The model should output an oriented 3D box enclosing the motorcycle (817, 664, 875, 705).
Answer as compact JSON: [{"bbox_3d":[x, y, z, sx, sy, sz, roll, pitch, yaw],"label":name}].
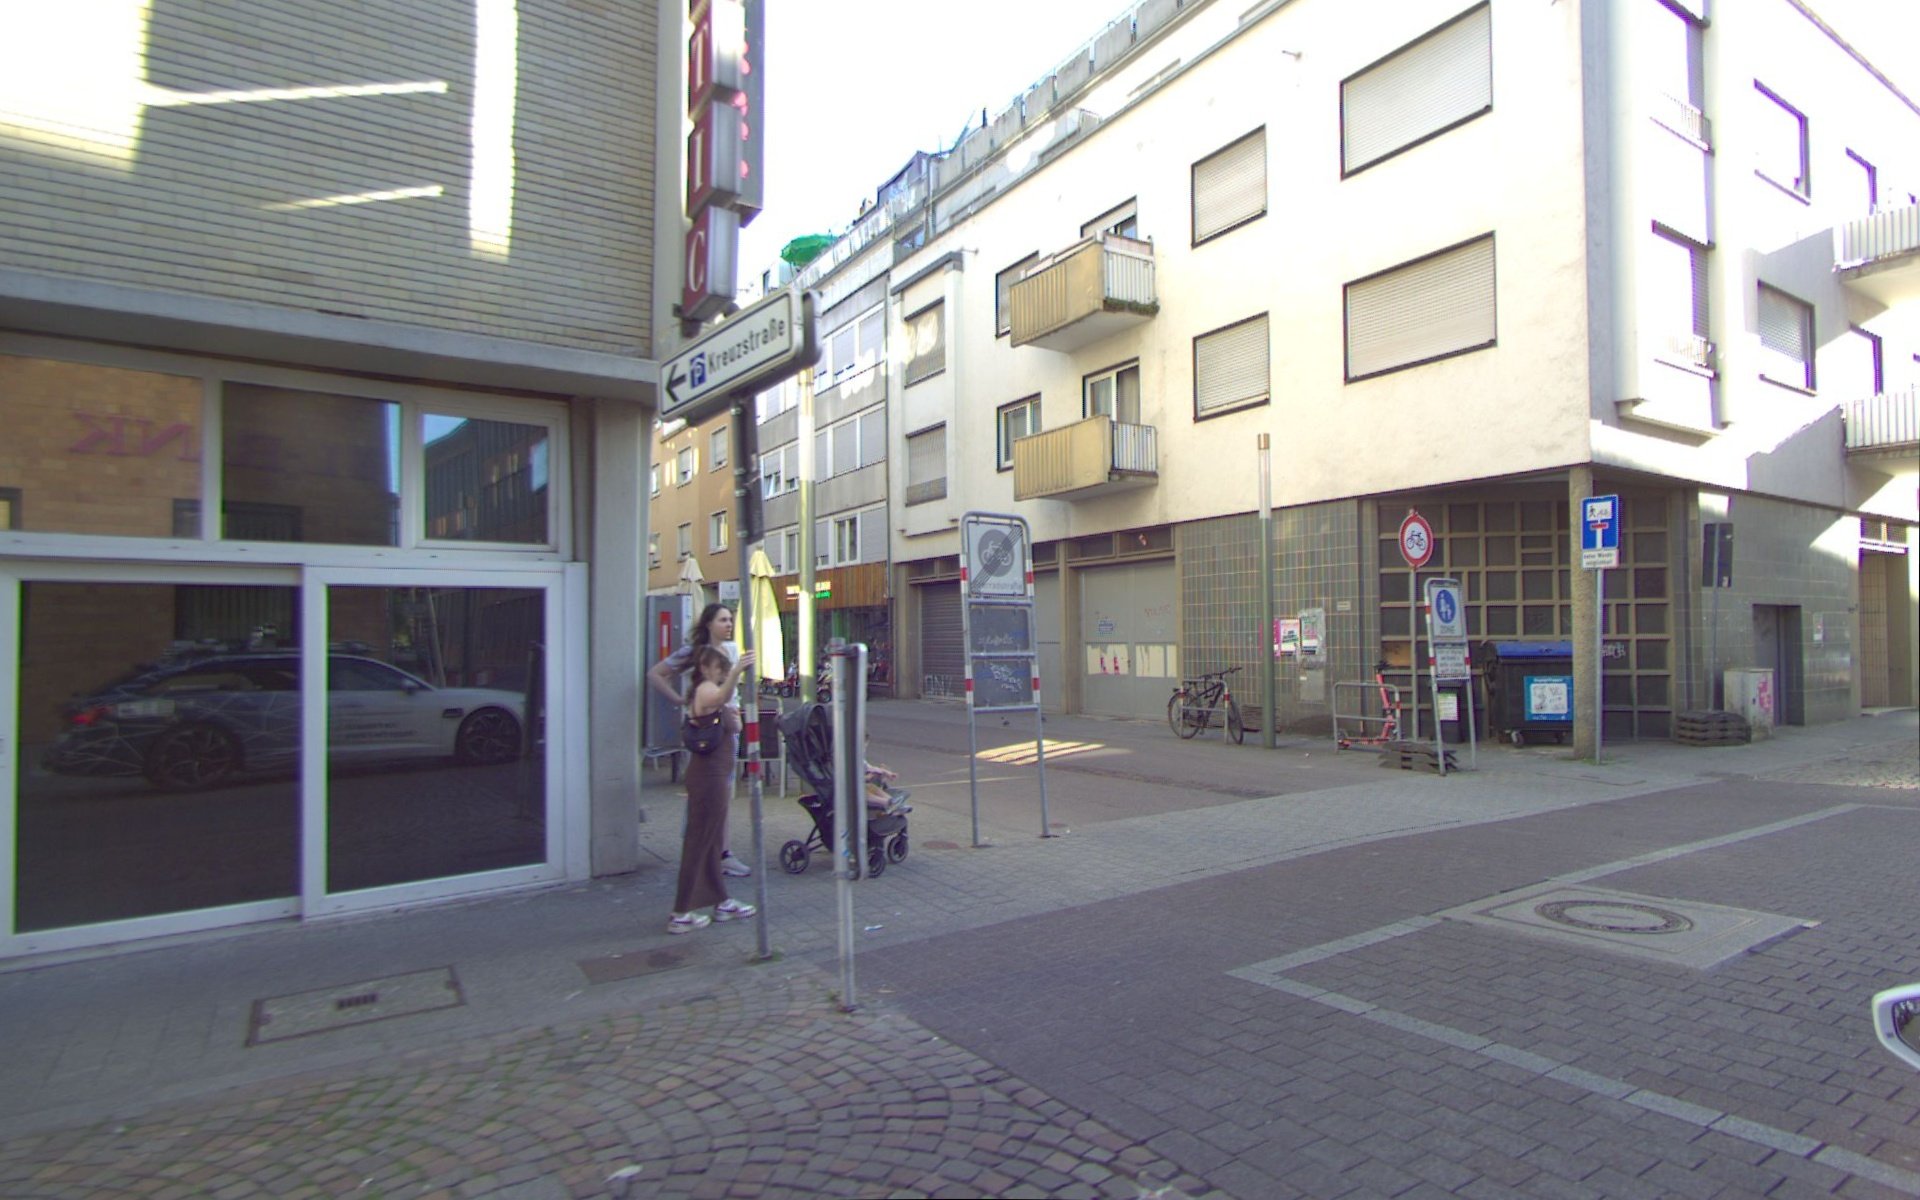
[{"bbox_3d":[-3.118,2.315,27.504,1.543,1.055,0.371,-1,-1,-15],"label":"motorcycle"}]

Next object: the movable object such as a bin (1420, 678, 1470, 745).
[{"bbox_3d":[7.121,1.628,14.758,0.530,0.936,0.514,-1,-2,10],"label":"movable object such as a bin"}]

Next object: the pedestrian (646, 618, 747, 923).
[{"bbox_3d":[-1.455,0.907,5.605,0.502,1.601,0.533,0,1,-11],"label":"pedestrian"}]

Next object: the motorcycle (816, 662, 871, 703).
[{"bbox_3d":[-3.287,2.308,28.271,1.496,1.090,0.411,-1,-1,-15],"label":"motorcycle"}]

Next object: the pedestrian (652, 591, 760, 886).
[{"bbox_3d":[-1.656,0.869,6.626,0.560,1.844,0.659,1,1,-4],"label":"pedestrian"}]

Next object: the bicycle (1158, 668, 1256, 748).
[{"bbox_3d":[3.790,1.640,15.547,0.442,1.154,1.698,1,-3,-27],"label":"bicycle"}]

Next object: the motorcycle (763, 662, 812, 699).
[{"bbox_3d":[-5.342,2.492,31.072,1.463,1.090,0.411,-1,-1,-15],"label":"motorcycle"}]

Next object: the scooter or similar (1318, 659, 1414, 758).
[{"bbox_3d":[5.534,1.455,13.749,0.305,1.269,1.227,1,-2,-36],"label":"scooter or similar"}]

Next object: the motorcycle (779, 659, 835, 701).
[{"bbox_3d":[-4.610,2.403,30.225,1.602,1.190,0.479,-1,-1,-15],"label":"motorcycle"}]

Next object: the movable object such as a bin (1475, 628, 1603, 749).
[{"bbox_3d":[8.145,1.211,14.211,1.265,1.610,1.156,-1,0,12],"label":"movable object such as a bin"}]

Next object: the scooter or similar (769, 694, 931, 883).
[{"bbox_3d":[-0.742,1.273,7.014,0.934,1.159,0.800,0,-1,9],"label":"scooter or similar"}]

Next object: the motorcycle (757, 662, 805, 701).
[{"bbox_3d":[-5.784,2.634,32.431,1.465,1.197,0.411,0,-2,-18],"label":"motorcycle"}]

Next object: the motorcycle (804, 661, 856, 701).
[{"bbox_3d":[-3.789,2.339,29.205,1.463,1.090,0.411,-1,-1,-15],"label":"motorcycle"}]
